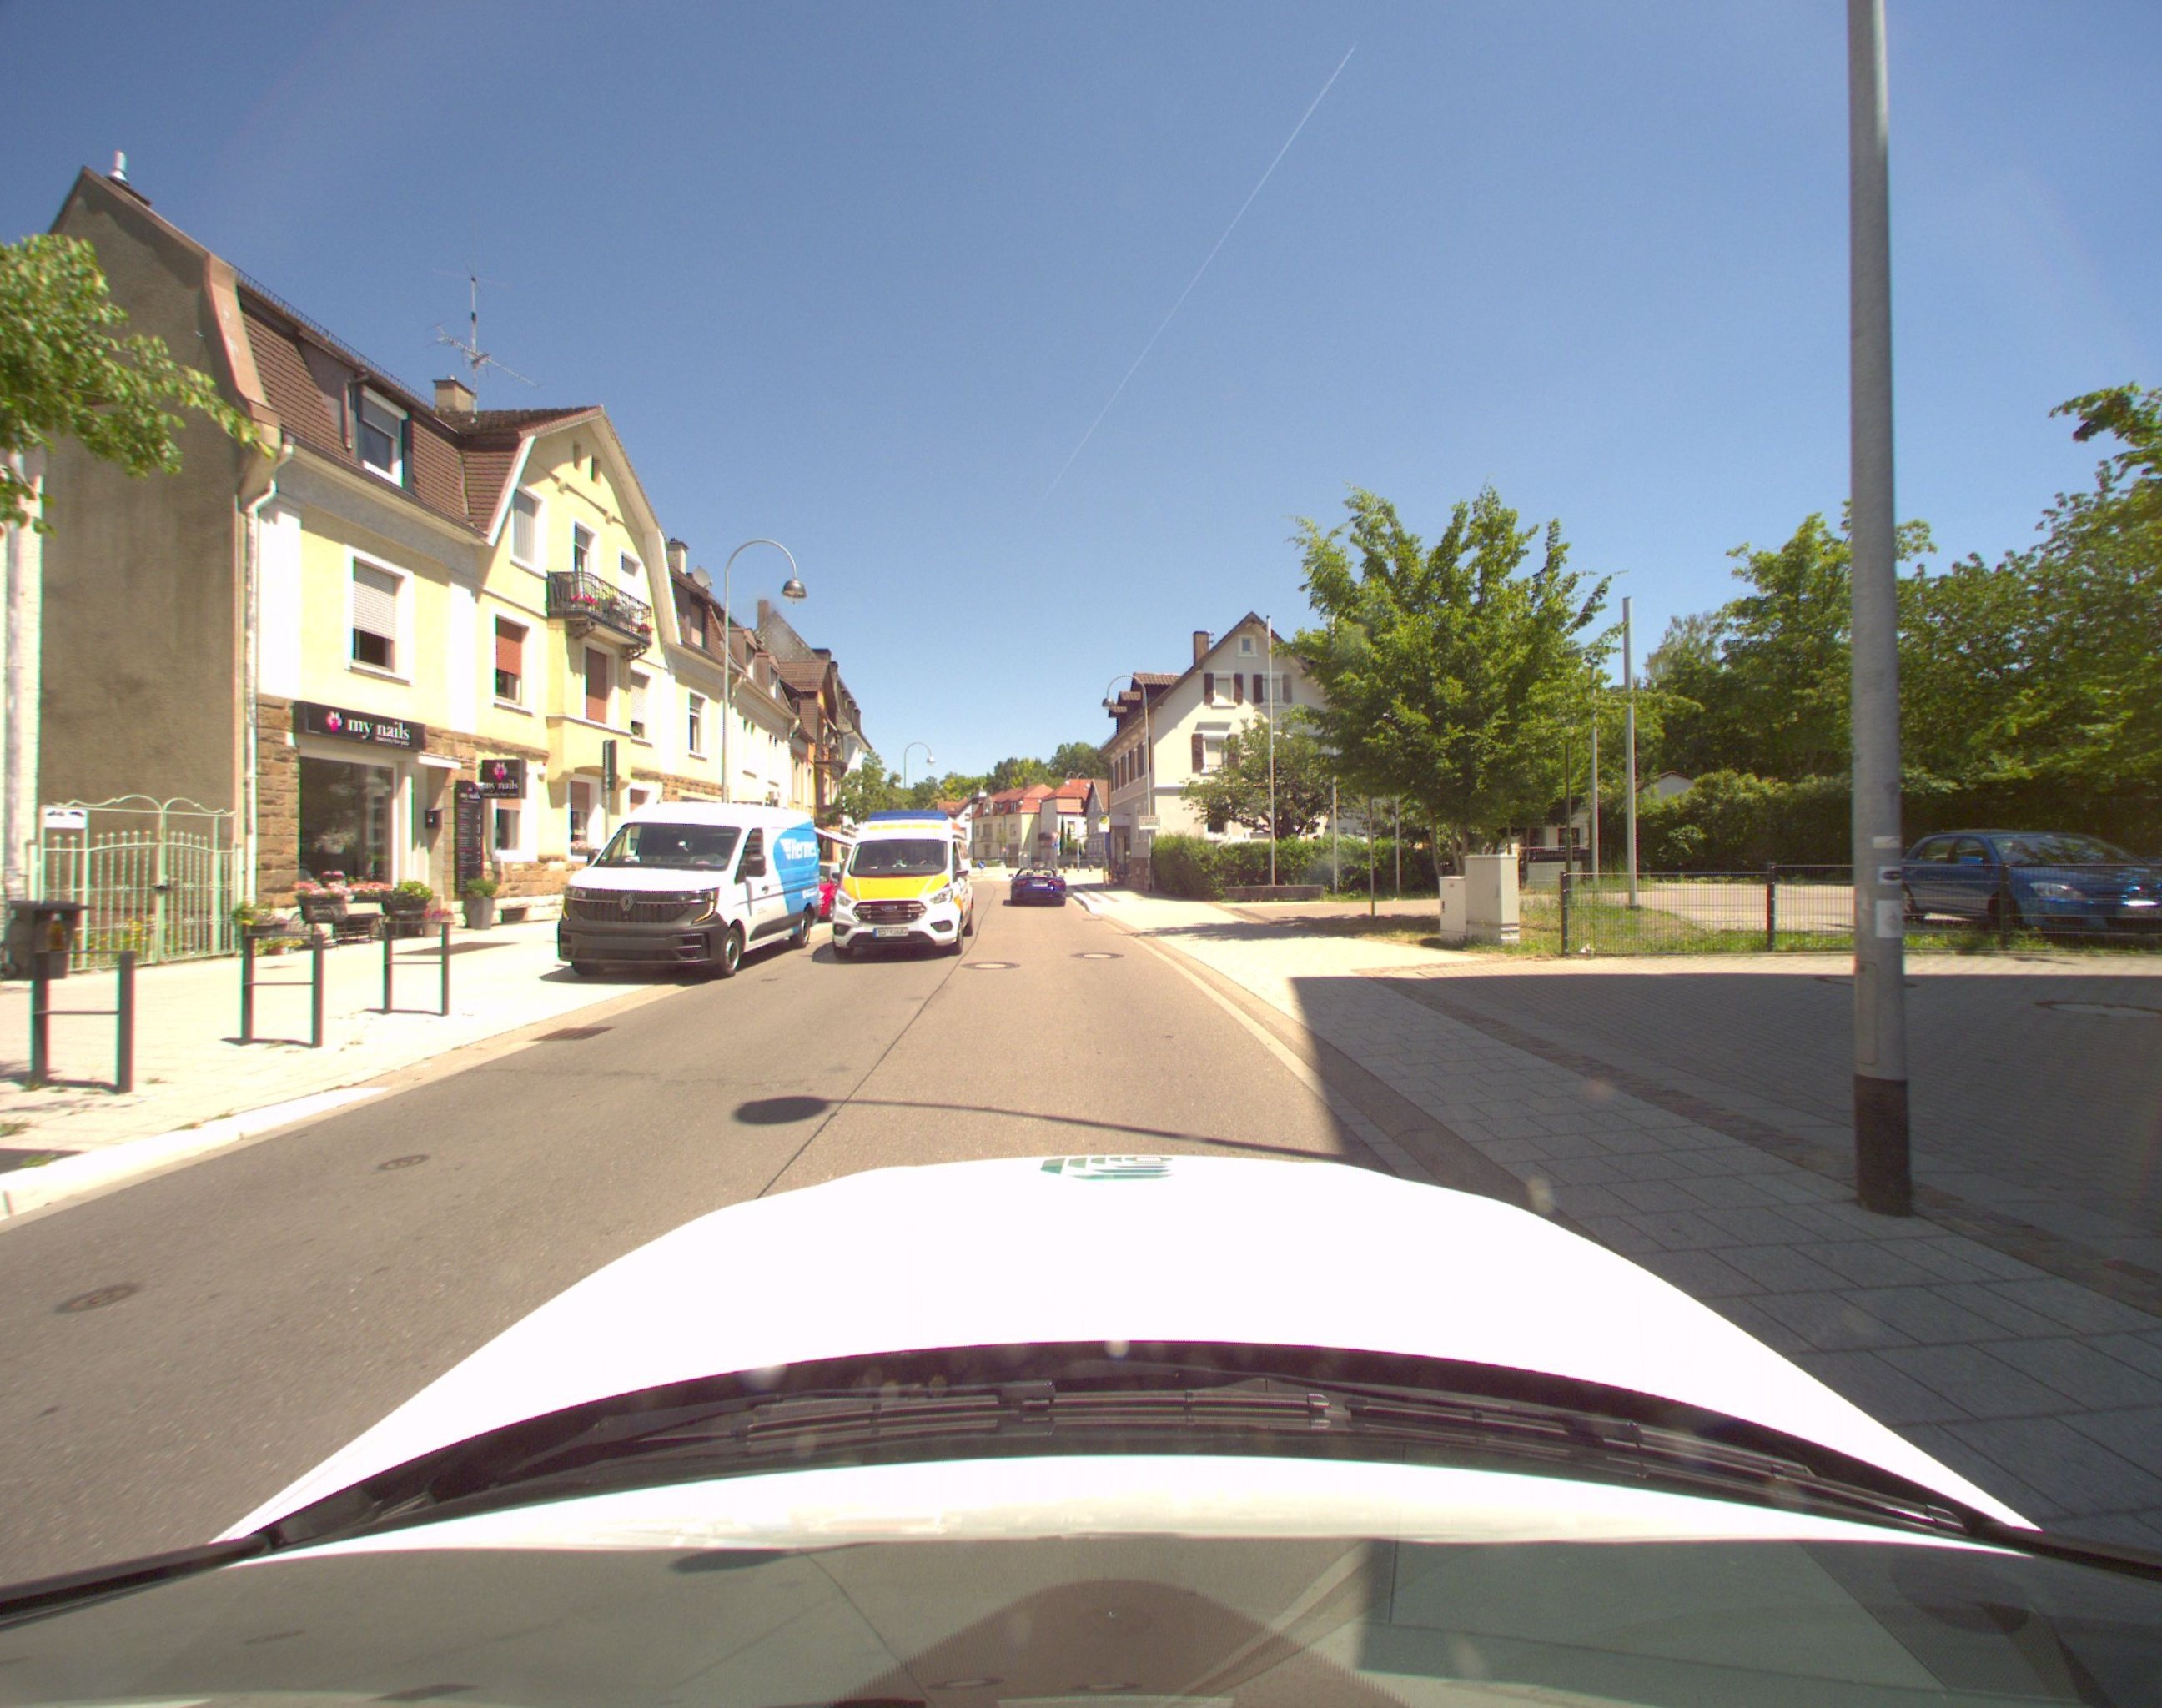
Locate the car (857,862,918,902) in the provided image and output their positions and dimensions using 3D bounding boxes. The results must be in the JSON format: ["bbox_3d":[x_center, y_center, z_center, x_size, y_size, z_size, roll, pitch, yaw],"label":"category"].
[{"bbox_3d":[-7.946,1.101,33.870,1.913,1.481,4.327,2,-1,-7],"label":"car"}]

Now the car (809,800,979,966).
[{"bbox_3d":[-3.054,0.432,14.533,2.152,2.362,5.239,-2,0,-5],"label":"car"}]

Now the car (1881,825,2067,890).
[{"bbox_3d":[21.831,0.080,20.134,1.852,1.441,4.025,-1,0,28],"label":"car"}]

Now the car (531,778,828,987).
[{"bbox_3d":[-5.719,0.375,12.642,2.088,2.498,5.496,1,-1,-4],"label":"car"}]

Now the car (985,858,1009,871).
[{"bbox_3d":[-11.296,1.472,108.935,1.928,1.613,4.112,-1,-1,-26],"label":"car"}]

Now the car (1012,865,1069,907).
[{"bbox_3d":[-1.509,1.093,29.356,1.907,1.360,4.278,1,0,-5],"label":"car"}]

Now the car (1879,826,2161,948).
[{"bbox_3d":[13.559,0.357,11.569,1.795,1.441,4.197,1,1,24],"label":"car"}]

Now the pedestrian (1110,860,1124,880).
[{"bbox_3d":[1.897,0.844,42.636,0.589,0.999,0.722,-2,0,-7],"label":"pedestrian"}]

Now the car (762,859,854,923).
[{"bbox_3d":[-7.042,0.926,21.315,1.558,1.521,3.507,1,-1,-7],"label":"car"}]
